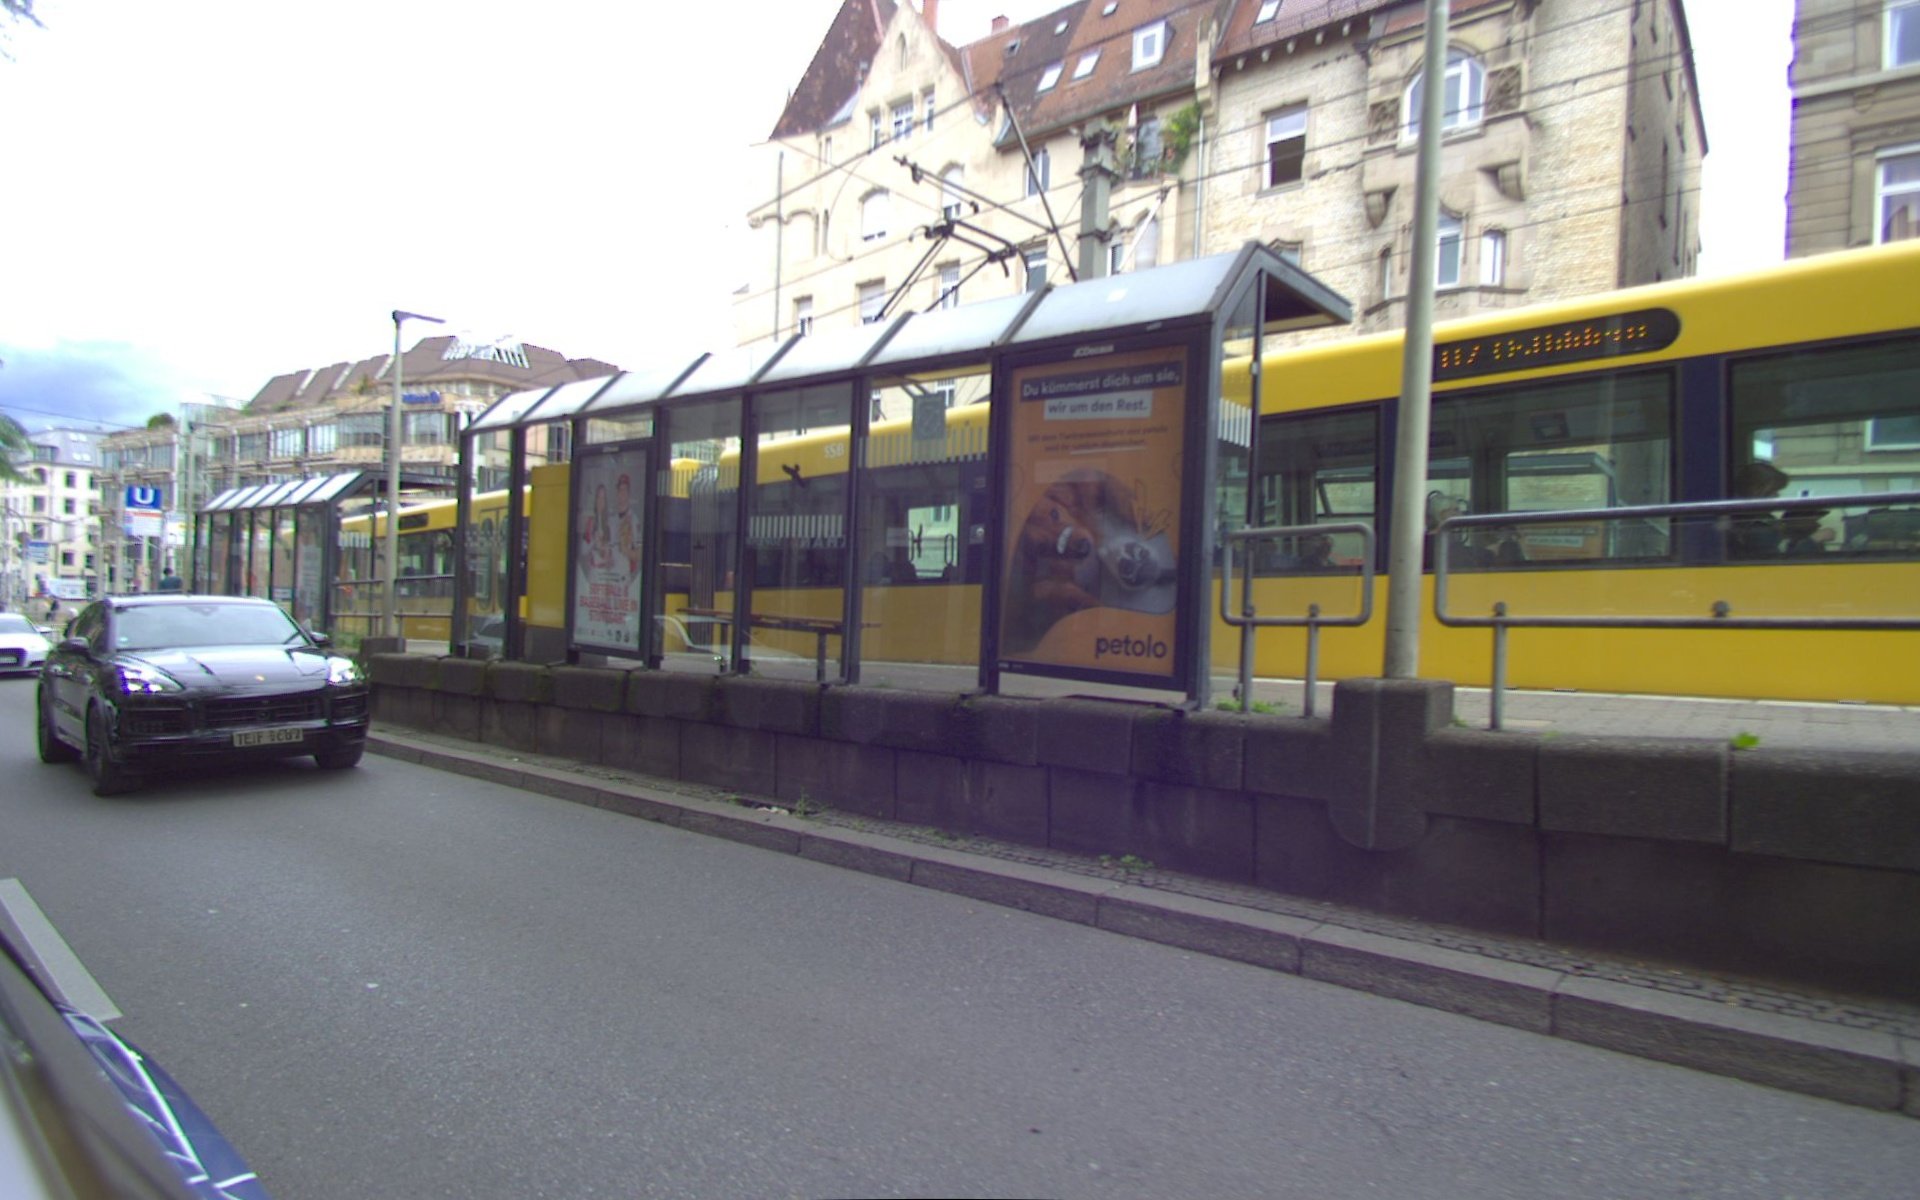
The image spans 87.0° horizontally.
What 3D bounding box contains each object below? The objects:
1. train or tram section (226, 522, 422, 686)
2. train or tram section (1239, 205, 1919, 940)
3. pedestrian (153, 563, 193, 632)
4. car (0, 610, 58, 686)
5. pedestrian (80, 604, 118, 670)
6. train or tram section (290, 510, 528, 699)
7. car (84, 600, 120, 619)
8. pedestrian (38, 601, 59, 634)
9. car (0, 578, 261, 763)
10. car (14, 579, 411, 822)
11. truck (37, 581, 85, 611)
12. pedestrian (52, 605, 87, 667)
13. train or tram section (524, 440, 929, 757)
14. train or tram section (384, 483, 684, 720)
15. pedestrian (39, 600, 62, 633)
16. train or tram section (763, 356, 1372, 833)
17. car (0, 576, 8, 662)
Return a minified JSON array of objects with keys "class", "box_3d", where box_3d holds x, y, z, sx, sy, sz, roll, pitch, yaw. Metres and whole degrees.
[{"class":"train or tram section","box_3d":[-16.344,0.082,25.875,5.751,3.706,2.805,0,0,42]},{"class":"train or tram section","box_3d":[5.204,-0.144,6.621,5.901,3.694,2.783,0,0,42]},{"class":"pedestrian","box_3d":[-20.168,-0.071,25.926,0.671,1.743,0.710,1,1,43]},{"class":"car","box_3d":[-22.262,1.063,23.048,3.995,1.541,1.926,1,1,39]},{"class":"pedestrian","box_3d":[-23.178,0.982,27.236,0.711,1.724,0.678,-1,-1,41]},{"class":"train or tram section","box_3d":[-12.081,0.083,21.993,5.751,3.547,2.805,0,0,42]},{"class":"car","box_3d":[-87.572,0.974,103.270,4.771,1.772,1.659,1,1,35]},{"class":"pedestrian","box_3d":[-48.539,0.922,53.888,0.637,1.734,0.756,0,0,41]},{"class":"car","box_3d":[-11.505,0.730,13.727,5.149,2.029,2.338,1,1,44]},{"class":"car","box_3d":[-7.299,0.729,9.601,5.351,1.688,2.060,-1,-1,43]},{"class":"truck","box_3d":[-100.232,-0.431,112.769,7.358,3.099,2.247,1,-2,35]},{"class":"pedestrian","box_3d":[-25.443,1.020,28.916,0.871,1.724,0.628,-1,-1,41]},{"class":"train or tram section","box_3d":[-3.483,-0.016,14.303,5.751,3.547,2.805,0,0,42]},{"class":"train or tram section","box_3d":[-7.784,0.019,18.166,5.751,3.547,2.805,0,0,42]},{"class":"pedestrian","box_3d":[-47.941,0.873,53.353,0.772,1.734,0.783,0,0,41]},{"class":"train or tram section","box_3d":[0.847,-0.041,10.506,5.751,3.547,2.805,0,0,42]},{"class":"car","box_3d":[-33.922,0.590,33.991,5.937,2.780,2.252,1,1,41]}]
